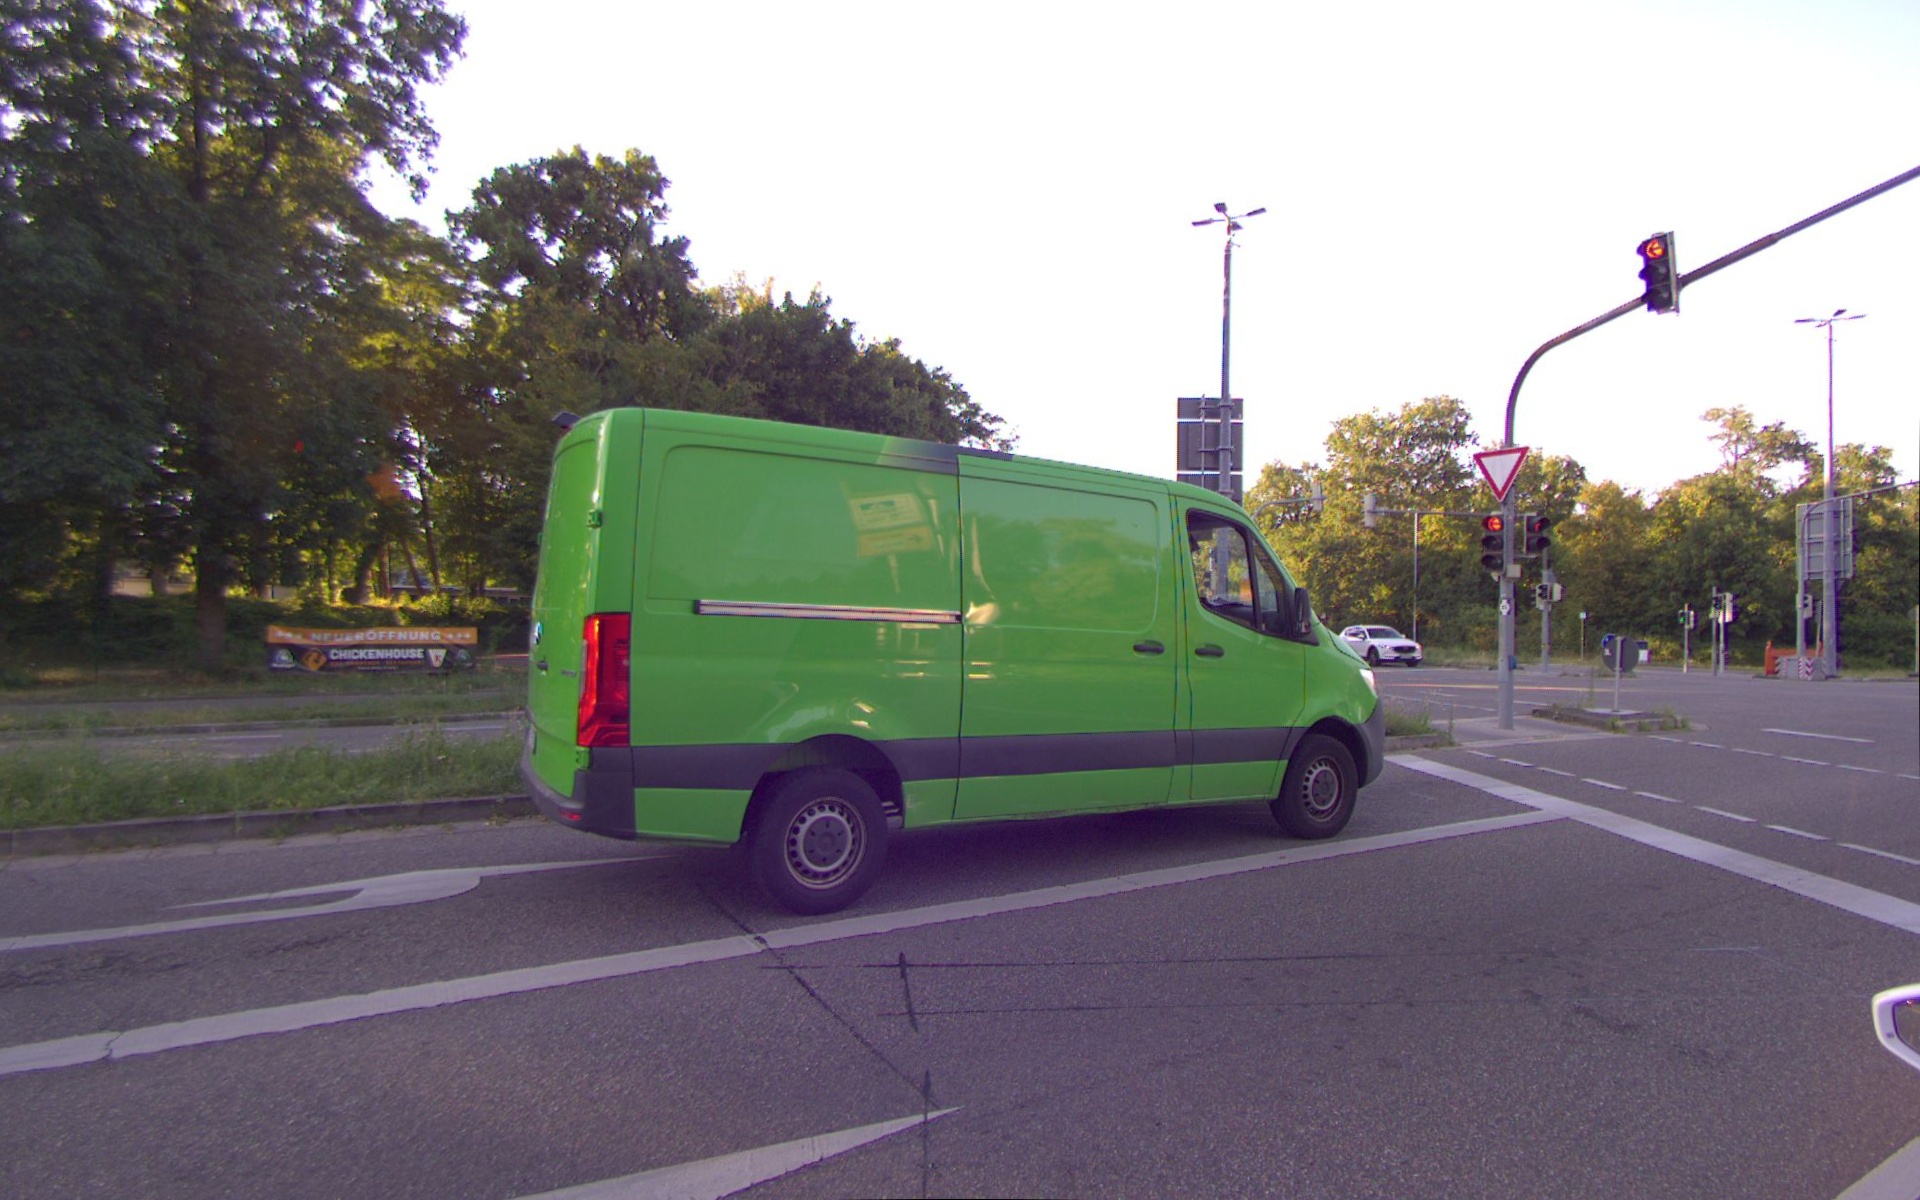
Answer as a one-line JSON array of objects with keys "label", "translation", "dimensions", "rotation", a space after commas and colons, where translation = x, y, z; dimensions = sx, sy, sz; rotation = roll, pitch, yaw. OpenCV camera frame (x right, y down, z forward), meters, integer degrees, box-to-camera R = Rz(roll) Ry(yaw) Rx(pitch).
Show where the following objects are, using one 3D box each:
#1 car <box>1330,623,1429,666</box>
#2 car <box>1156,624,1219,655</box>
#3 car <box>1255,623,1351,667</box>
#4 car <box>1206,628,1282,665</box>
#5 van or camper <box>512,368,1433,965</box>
[{"label": "car", "translation": [17.499, 1.825, 42.108], "dimensions": [1.963, 1.661, 4.252], "rotation": [1, -1, -8]}, {"label": "car", "translation": [12.688, 2.189, 56.204], "dimensions": [1.964, 1.661, 4.250], "rotation": [1, -1, -10]}, {"label": "car", "translation": [13.812, 1.792, 40.702], "dimensions": [1.963, 1.661, 4.252], "rotation": [1, -1, -8]}, {"label": "car", "translation": [13.502, 2.202, 48.051], "dimensions": [1.963, 1.661, 4.252], "rotation": [1, -1, -8]}, {"label": "van or camper", "translation": [0.403, 0.351, 6.520], "dimensions": [5.830, 2.453, 1.983], "rotation": [2, -1, -32]}]
